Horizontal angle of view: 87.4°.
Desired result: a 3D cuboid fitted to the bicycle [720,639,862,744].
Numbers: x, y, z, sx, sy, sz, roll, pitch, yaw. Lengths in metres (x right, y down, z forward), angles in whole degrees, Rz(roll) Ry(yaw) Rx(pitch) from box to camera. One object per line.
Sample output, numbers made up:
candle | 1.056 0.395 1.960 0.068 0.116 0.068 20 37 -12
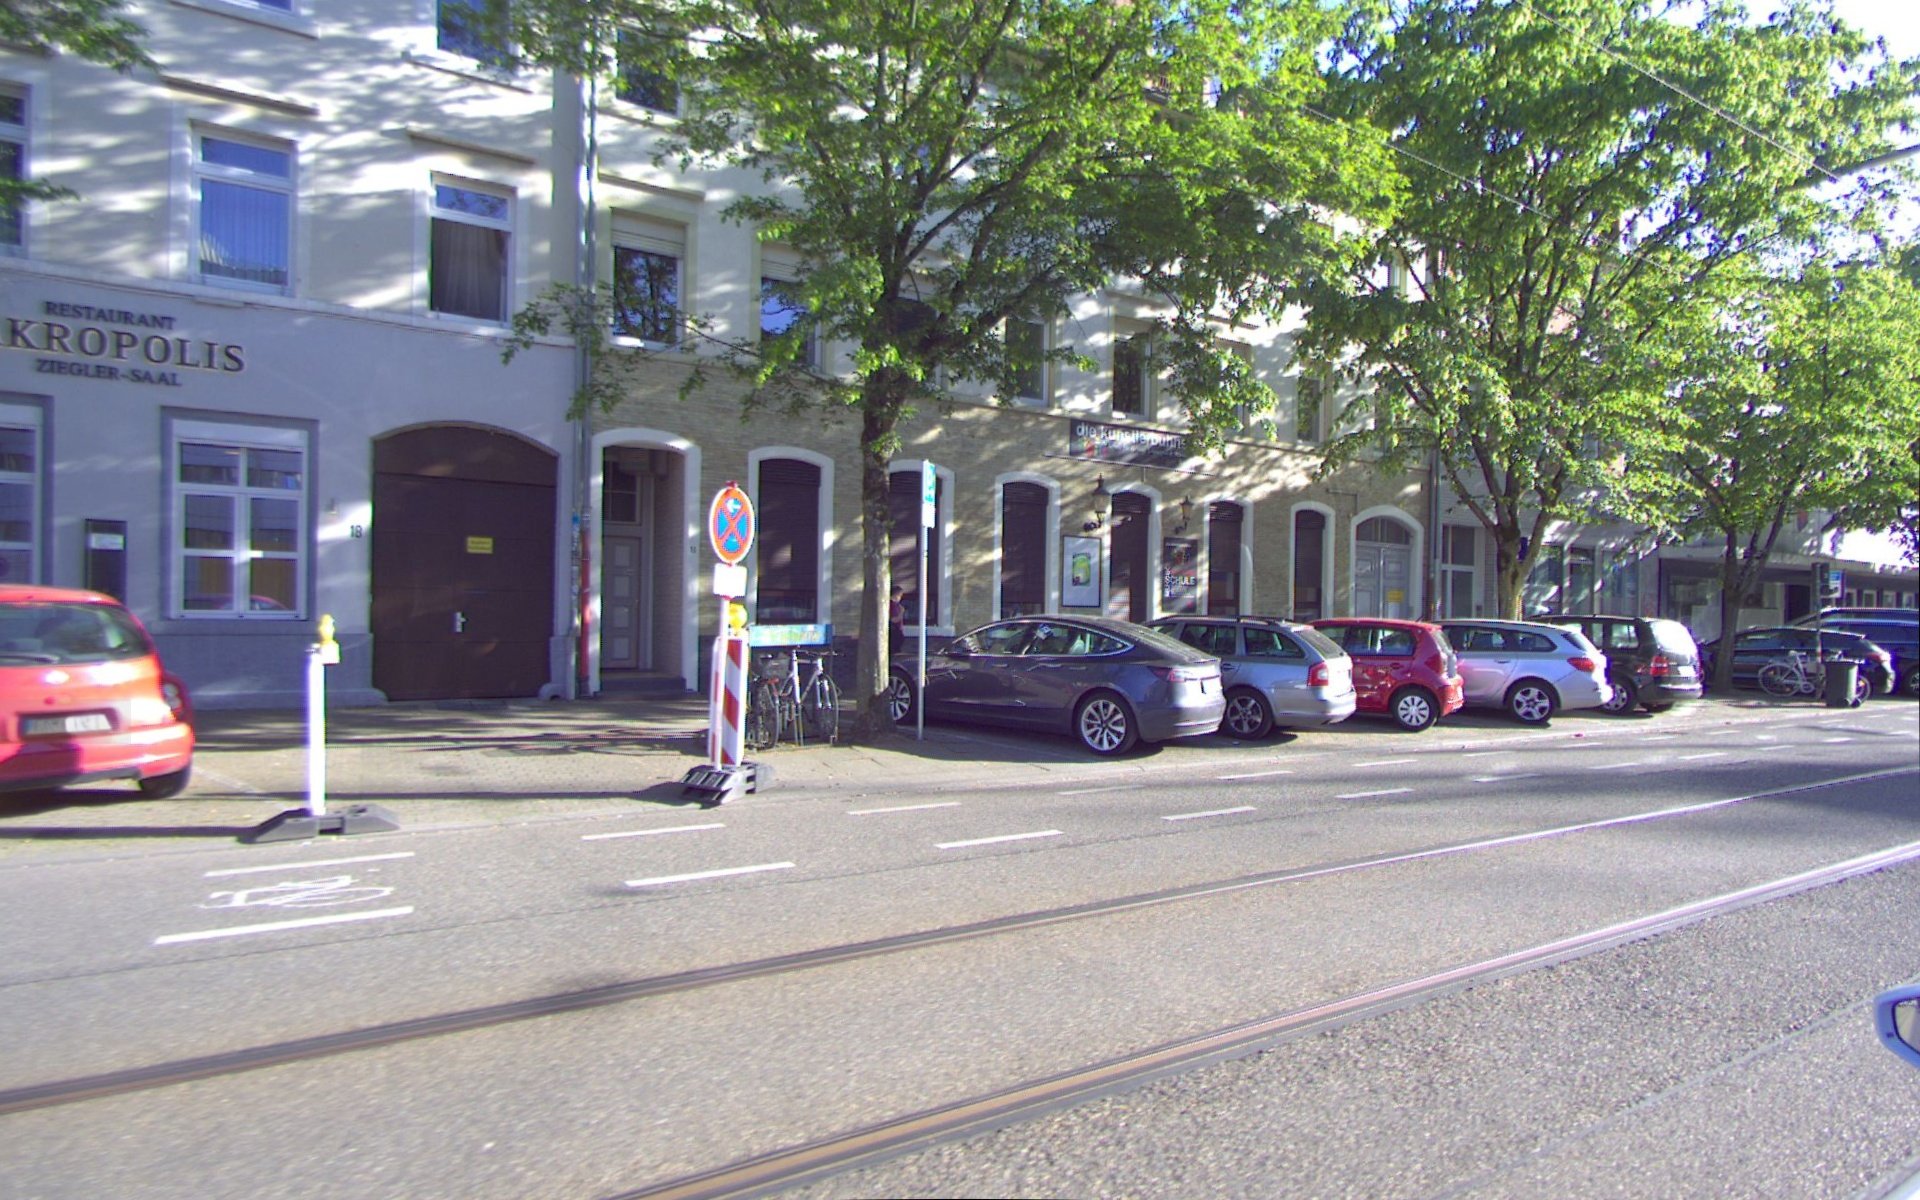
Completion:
bicycle | -1.902 1.011 11.293 1.562 1.110 0.334 0 -1 15

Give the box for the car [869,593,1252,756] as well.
car | 1.143 0.746 12.076 4.131 1.511 1.938 2 1 33

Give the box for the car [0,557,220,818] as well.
car | -7.159 0.483 7.411 3.564 1.574 1.663 2 2 34

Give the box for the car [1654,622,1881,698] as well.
car | 17.775 1.250 22.222 3.813 1.496 1.833 0 -1 42

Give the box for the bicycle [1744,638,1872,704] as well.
bicycle | 17.304 1.421 20.532 1.943 1.160 0.490 3 1 42

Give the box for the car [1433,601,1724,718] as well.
car | 11.058 0.969 18.251 1.821 1.700 4.081 1 2 -32

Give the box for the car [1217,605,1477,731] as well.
car | 5.714 0.911 14.899 3.315 1.513 1.609 3 2 32

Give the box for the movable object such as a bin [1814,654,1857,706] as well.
movable object such as a bin | 17.152 1.560 19.683 0.569 0.925 0.572 3 3 44

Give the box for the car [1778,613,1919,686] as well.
car | 24.611 1.324 26.716 4.226 1.689 1.905 4 2 36

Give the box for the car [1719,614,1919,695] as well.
car | 20.437 1.215 23.504 4.184 1.707 1.803 1 -1 40

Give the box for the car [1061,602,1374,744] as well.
car | 3.375 0.862 13.299 3.619 1.490 1.749 3 1 32

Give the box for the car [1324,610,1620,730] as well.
car | 8.239 1.023 16.282 4.048 1.533 1.835 2 1 34

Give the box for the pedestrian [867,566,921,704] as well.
pedestrian | -1.011 0.527 15.383 0.550 2.040 0.728 1 -1 -29

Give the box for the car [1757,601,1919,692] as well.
car | 22.592 1.143 24.928 4.300 2.013 1.941 3 1 39
